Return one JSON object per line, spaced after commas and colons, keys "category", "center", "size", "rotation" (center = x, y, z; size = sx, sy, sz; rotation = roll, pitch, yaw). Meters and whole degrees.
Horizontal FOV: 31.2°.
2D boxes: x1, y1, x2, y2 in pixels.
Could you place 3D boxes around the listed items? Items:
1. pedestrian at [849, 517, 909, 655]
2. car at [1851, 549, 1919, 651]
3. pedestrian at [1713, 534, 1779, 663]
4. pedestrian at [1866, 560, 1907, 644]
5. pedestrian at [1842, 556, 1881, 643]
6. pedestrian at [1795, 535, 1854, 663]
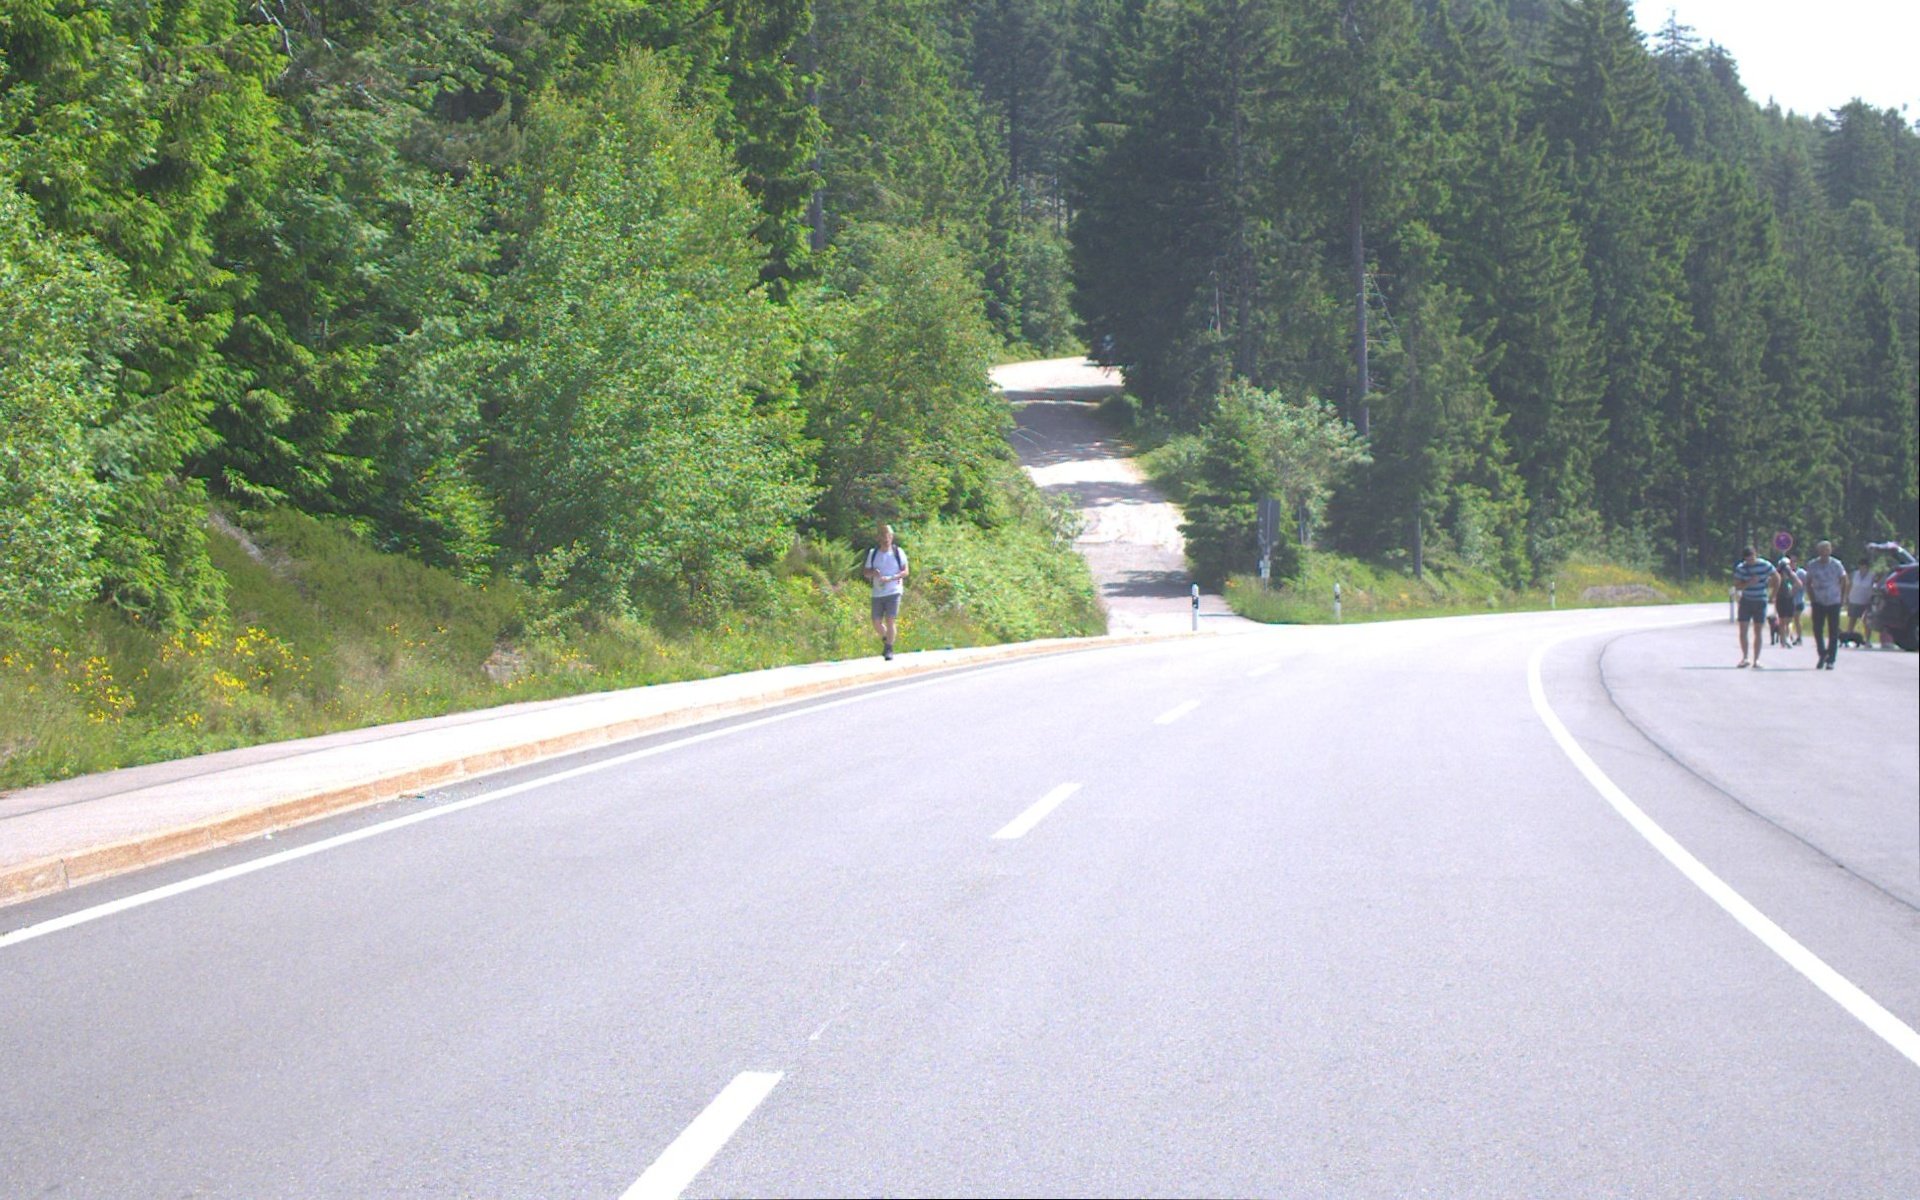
{"category": "pedestrian", "center": [-1.029, -0.188, 43.957], "size": [0.682, 1.740, 0.825], "rotation": [1, 1, 4]}
{"category": "car", "center": [18.743, 0.012, 63.270], "size": [4.265, 1.787, 1.892], "rotation": [1, 2, 6]}
{"category": "pedestrian", "center": [10.855, -0.029, 47.471], "size": [0.754, 1.754, 0.774], "rotation": [0, 1, 22]}
{"category": "pedestrian", "center": [17.824, 0.039, 66.130], "size": [0.618, 1.582, 0.734], "rotation": [0, 2, 28]}
{"category": "pedestrian", "center": [17.613, -0.013, 67.177], "size": [0.653, 1.654, 0.687], "rotation": [0, 2, 22]}
{"category": "pedestrian", "center": [11.841, -0.022, 47.069], "size": [0.665, 1.735, 0.893], "rotation": [0, 1, 22]}
